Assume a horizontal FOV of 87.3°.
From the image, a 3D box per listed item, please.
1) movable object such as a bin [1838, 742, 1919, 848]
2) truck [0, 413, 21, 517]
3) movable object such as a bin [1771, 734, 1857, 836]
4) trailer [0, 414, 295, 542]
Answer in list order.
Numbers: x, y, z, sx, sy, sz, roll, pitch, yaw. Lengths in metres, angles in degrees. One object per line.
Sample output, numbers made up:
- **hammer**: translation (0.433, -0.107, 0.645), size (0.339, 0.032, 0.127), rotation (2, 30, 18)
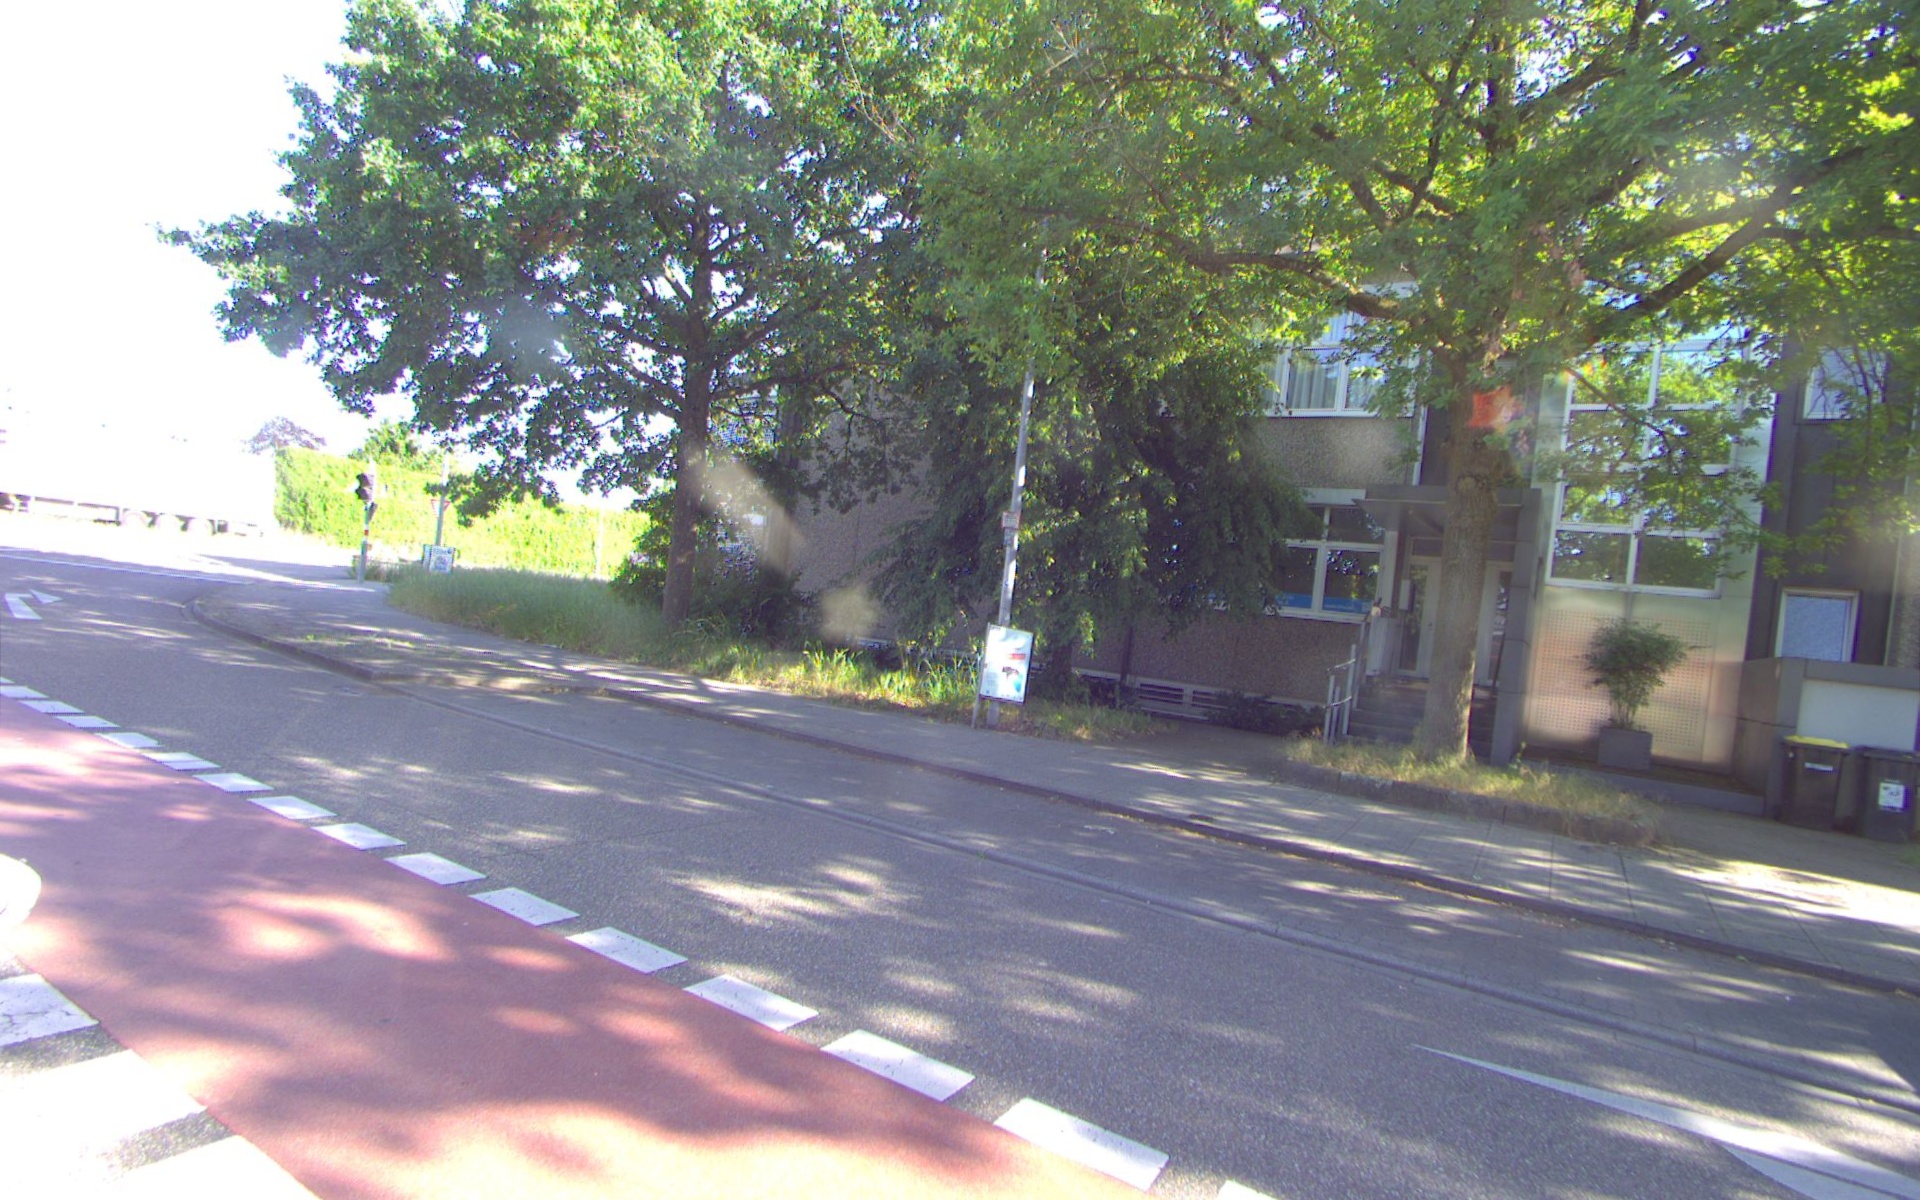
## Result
- **movable object such as a bin**: translation (10.761, 2.254, 11.712), size (0.605, 1.075, 0.634), rotation (6, 0, 30)
- **truck**: translation (-40.721, -5.599, 38.221), size (3.379, 4.066, 6.486), rotation (7, 2, 25)
- **movable object such as a bin**: translation (10.173, 2.185, 12.006), size (0.575, 1.070, 0.625), rotation (7, 0, 30)
- **trailer**: translation (-37.964, -5.359, 44.300), size (3.379, 4.064, 14.687), rotation (6, 1, 24)
